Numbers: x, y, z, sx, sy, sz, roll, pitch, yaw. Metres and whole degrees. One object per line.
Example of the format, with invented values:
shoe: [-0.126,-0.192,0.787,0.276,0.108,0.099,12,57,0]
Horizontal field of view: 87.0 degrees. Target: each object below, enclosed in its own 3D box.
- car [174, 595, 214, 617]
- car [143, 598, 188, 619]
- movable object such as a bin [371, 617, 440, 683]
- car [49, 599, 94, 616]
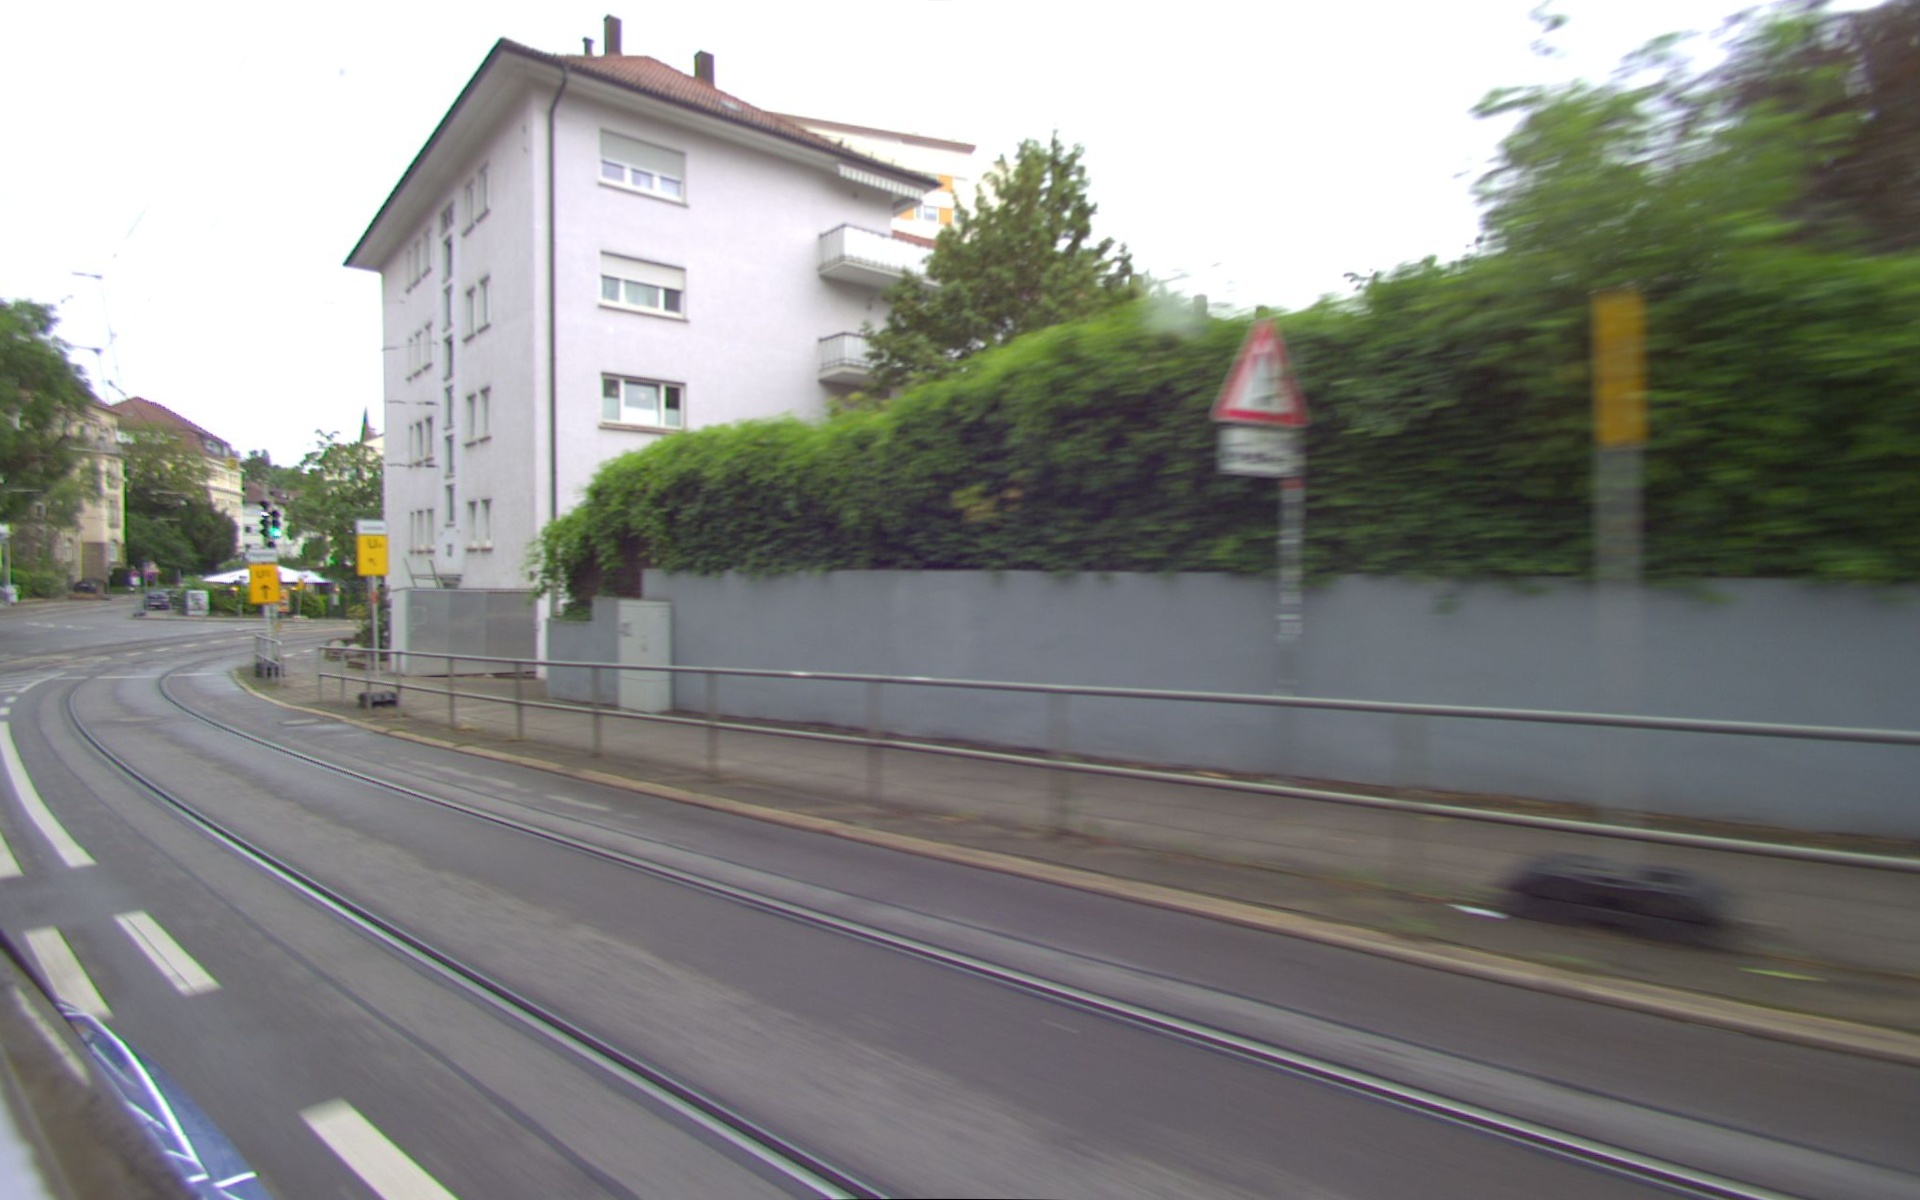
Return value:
car: [-61.405,0.462,81.171,1.664,1.702,3.817,1,0,-23]
car: [-58.563,0.614,74.624,1.664,1.453,3.817,1,0,-23]
movable object such as a bin: [-12.783,1.140,23.337,1.170,1.473,1.292,1,-3,-40]
car: [-74.072,0.639,84.427,1.572,1.351,3.646,0,-2,-20]
